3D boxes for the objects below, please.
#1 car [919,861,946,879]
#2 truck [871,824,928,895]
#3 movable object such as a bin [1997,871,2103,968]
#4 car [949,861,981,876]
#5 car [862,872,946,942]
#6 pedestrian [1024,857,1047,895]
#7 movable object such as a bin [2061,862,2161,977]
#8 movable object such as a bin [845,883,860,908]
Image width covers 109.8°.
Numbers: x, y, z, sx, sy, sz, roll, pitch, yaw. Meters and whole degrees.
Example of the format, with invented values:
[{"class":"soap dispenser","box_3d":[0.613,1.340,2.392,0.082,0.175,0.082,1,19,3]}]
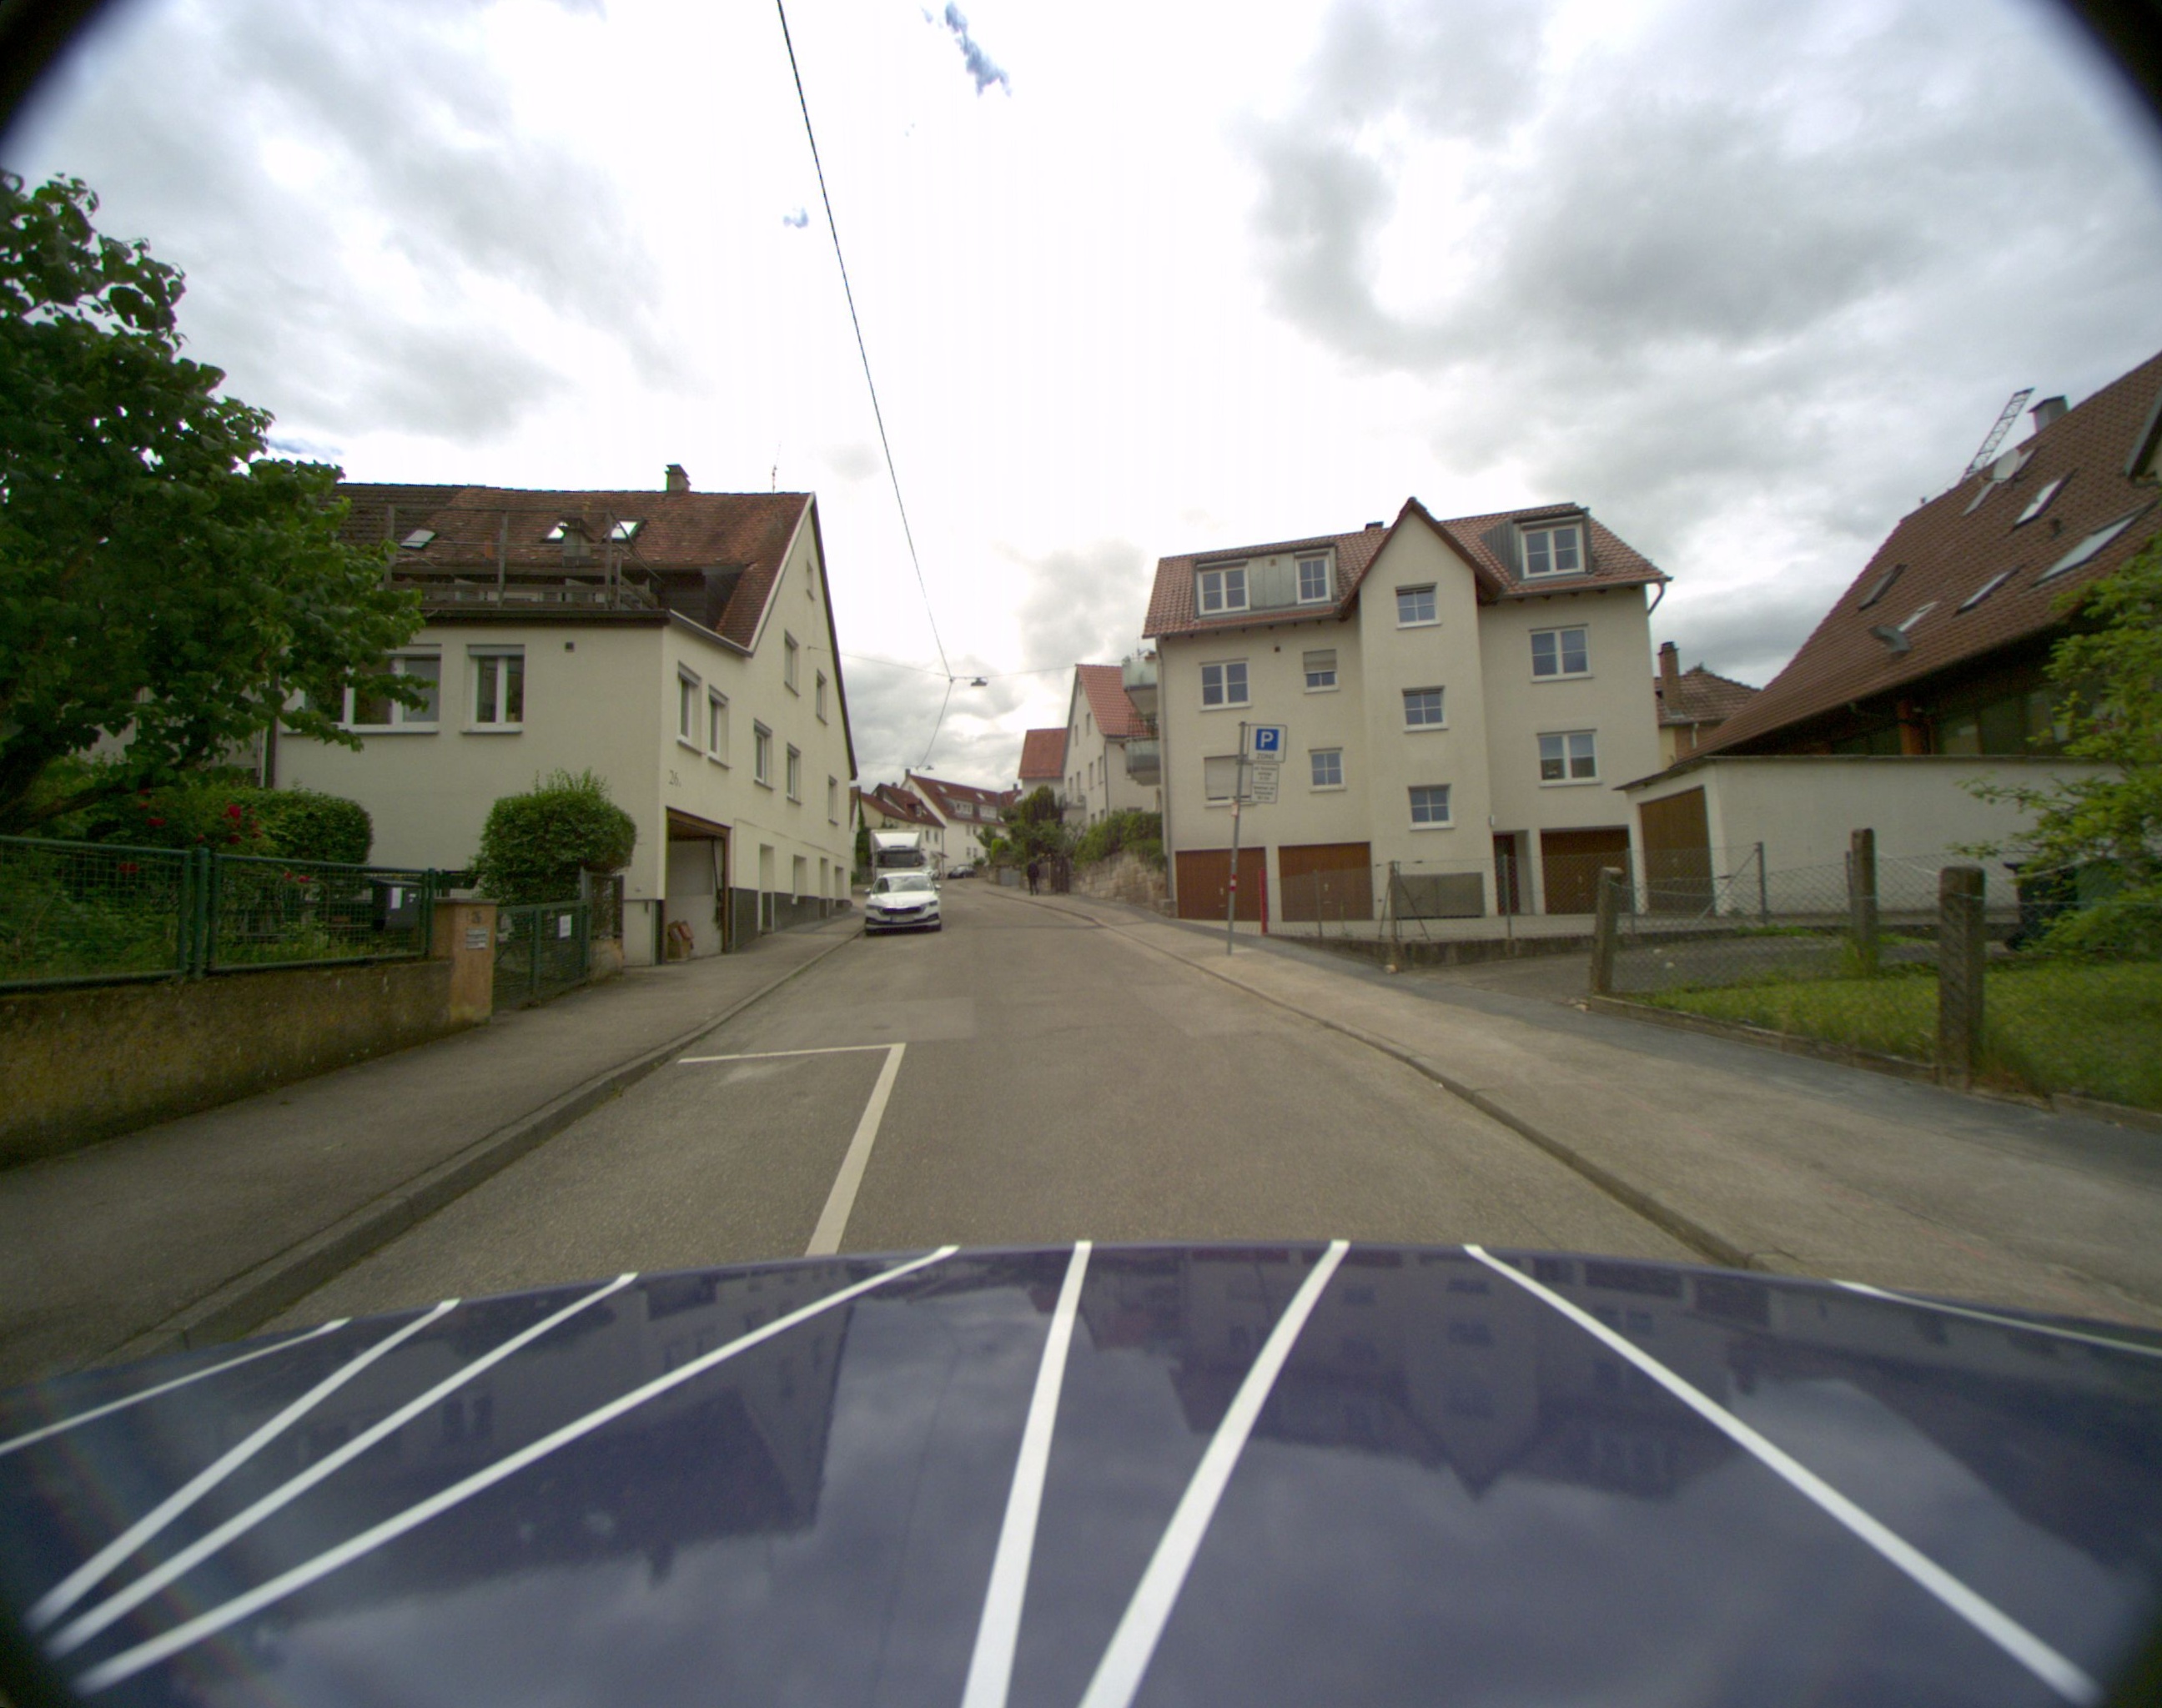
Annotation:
[{"class":"car","box_3d":[-14.101,1.527,72.150,1.615,1.523,2.899,-5,-1,7]},{"class":"truck","box_3d":[-10.271,0.352,42.419,2.686,3.575,8.095,-1,-1,-16]},{"class":"movable object such as a bin","box_3d":[9.280,0.614,7.294,0.377,0.888,0.490,-1,-1,8]},{"class":"car","box_3d":[-12.188,1.515,80.177,1.721,1.398,4.009,-4,-2,16]},{"class":"car","box_3d":[-4.427,1.239,19.389,1.801,1.437,4.294,-3,0,-11]},{"class":"pedestrian","box_3d":[-2.140,1.022,35.664,0.843,1.668,0.975,-4,1,-15]},{"class":"movable object such as a bin","box_3d":[9.209,0.561,6.728,0.399,0.975,0.508,-1,-1,8]},{"class":"movable object such as a bin","box_3d":[-8.566,1.564,28.483,0.466,0.911,0.541,2,-1,-13]}]
